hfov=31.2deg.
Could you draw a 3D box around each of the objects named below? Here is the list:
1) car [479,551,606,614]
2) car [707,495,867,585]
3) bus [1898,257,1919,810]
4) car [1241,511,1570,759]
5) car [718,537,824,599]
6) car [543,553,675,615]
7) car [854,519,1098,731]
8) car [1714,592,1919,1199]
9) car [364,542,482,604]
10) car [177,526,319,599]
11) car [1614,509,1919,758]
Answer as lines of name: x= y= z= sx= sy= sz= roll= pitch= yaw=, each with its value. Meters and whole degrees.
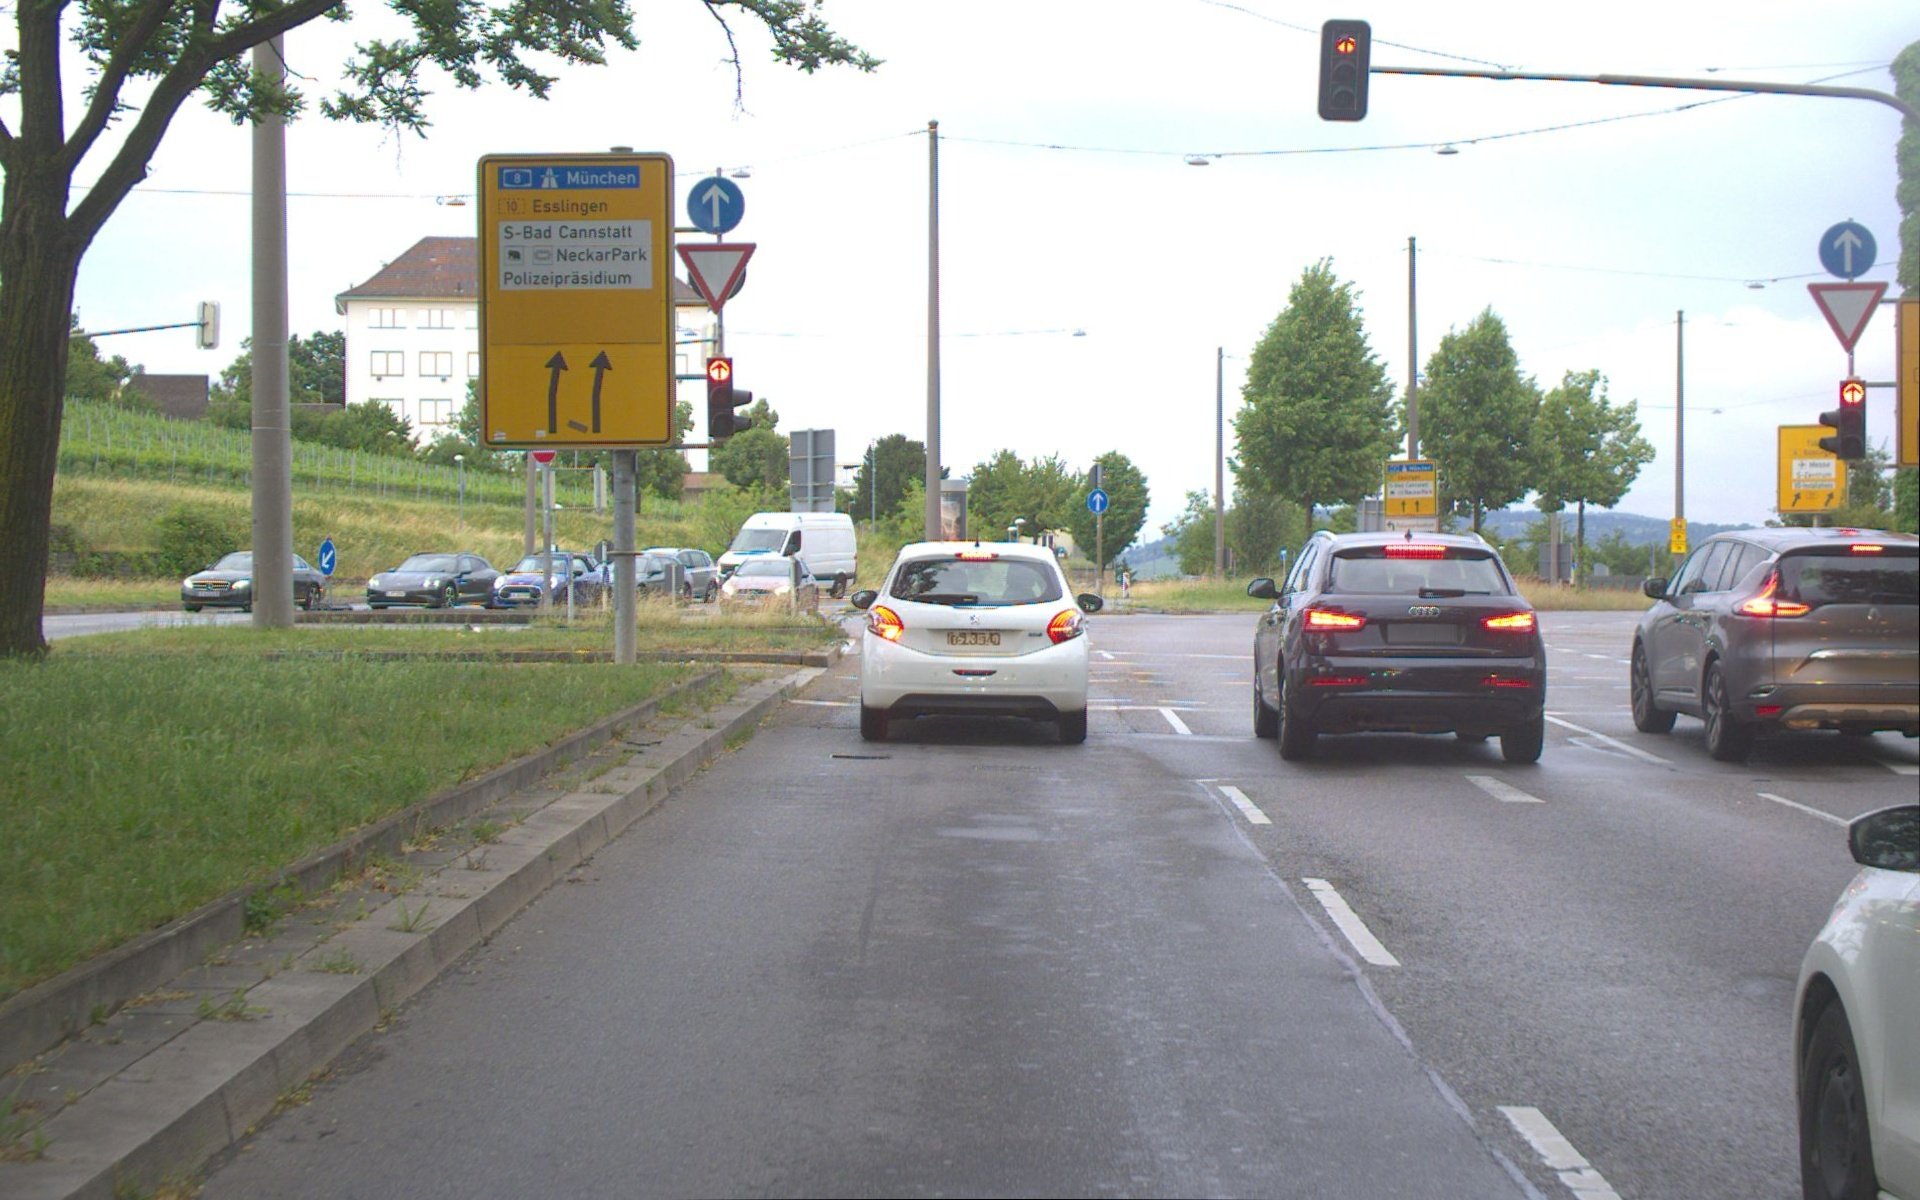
car: x=-9.795 y=-0.390 z=80.987 sx=1.787 sy=1.391 sz=3.880 roll=2 pitch=0 yaw=12
car: x=-5.208 y=-1.785 z=104.372 sx=1.996 sy=2.550 sz=6.161 roll=2 pitch=1 yaw=26
bus: x=6.526 y=-0.219 z=13.243 sx=2.727 sy=3.141 sz=12.146 roll=2 pitch=2 yaw=2
car: x=3.132 y=0.213 z=24.945 sx=1.884 sy=1.590 sz=4.113 roll=2 pitch=1 yaw=1
car: x=-4.458 y=-0.747 z=81.557 sx=1.776 sy=1.420 sz=4.373 roll=0 pitch=0 yaw=7
car: x=-8.838 y=-0.403 z=86.963 sx=1.902 sy=1.484 sz=4.890 roll=2 pitch=1 yaw=11
car: x=0.148 y=0.159 z=26.588 sx=1.718 sy=1.484 sz=4.000 roll=1 pitch=1 yaw=1
car: x=2.607 y=0.745 z=5.874 sx=1.741 sy=1.427 sz=3.812 roll=2 pitch=1 yaw=0
car: x=-12.936 y=-0.643 z=83.039 sx=1.787 sy=1.391 sz=3.880 roll=2 pitch=0 yaw=7
car: x=-16.807 y=-0.867 z=81.382 sx=1.830 sy=1.618 sz=4.565 roll=2 pitch=1 yaw=8
car: x=6.277 y=0.176 z=25.816 sx=1.865 sy=1.668 sz=4.566 roll=1 pitch=2 yaw=0
